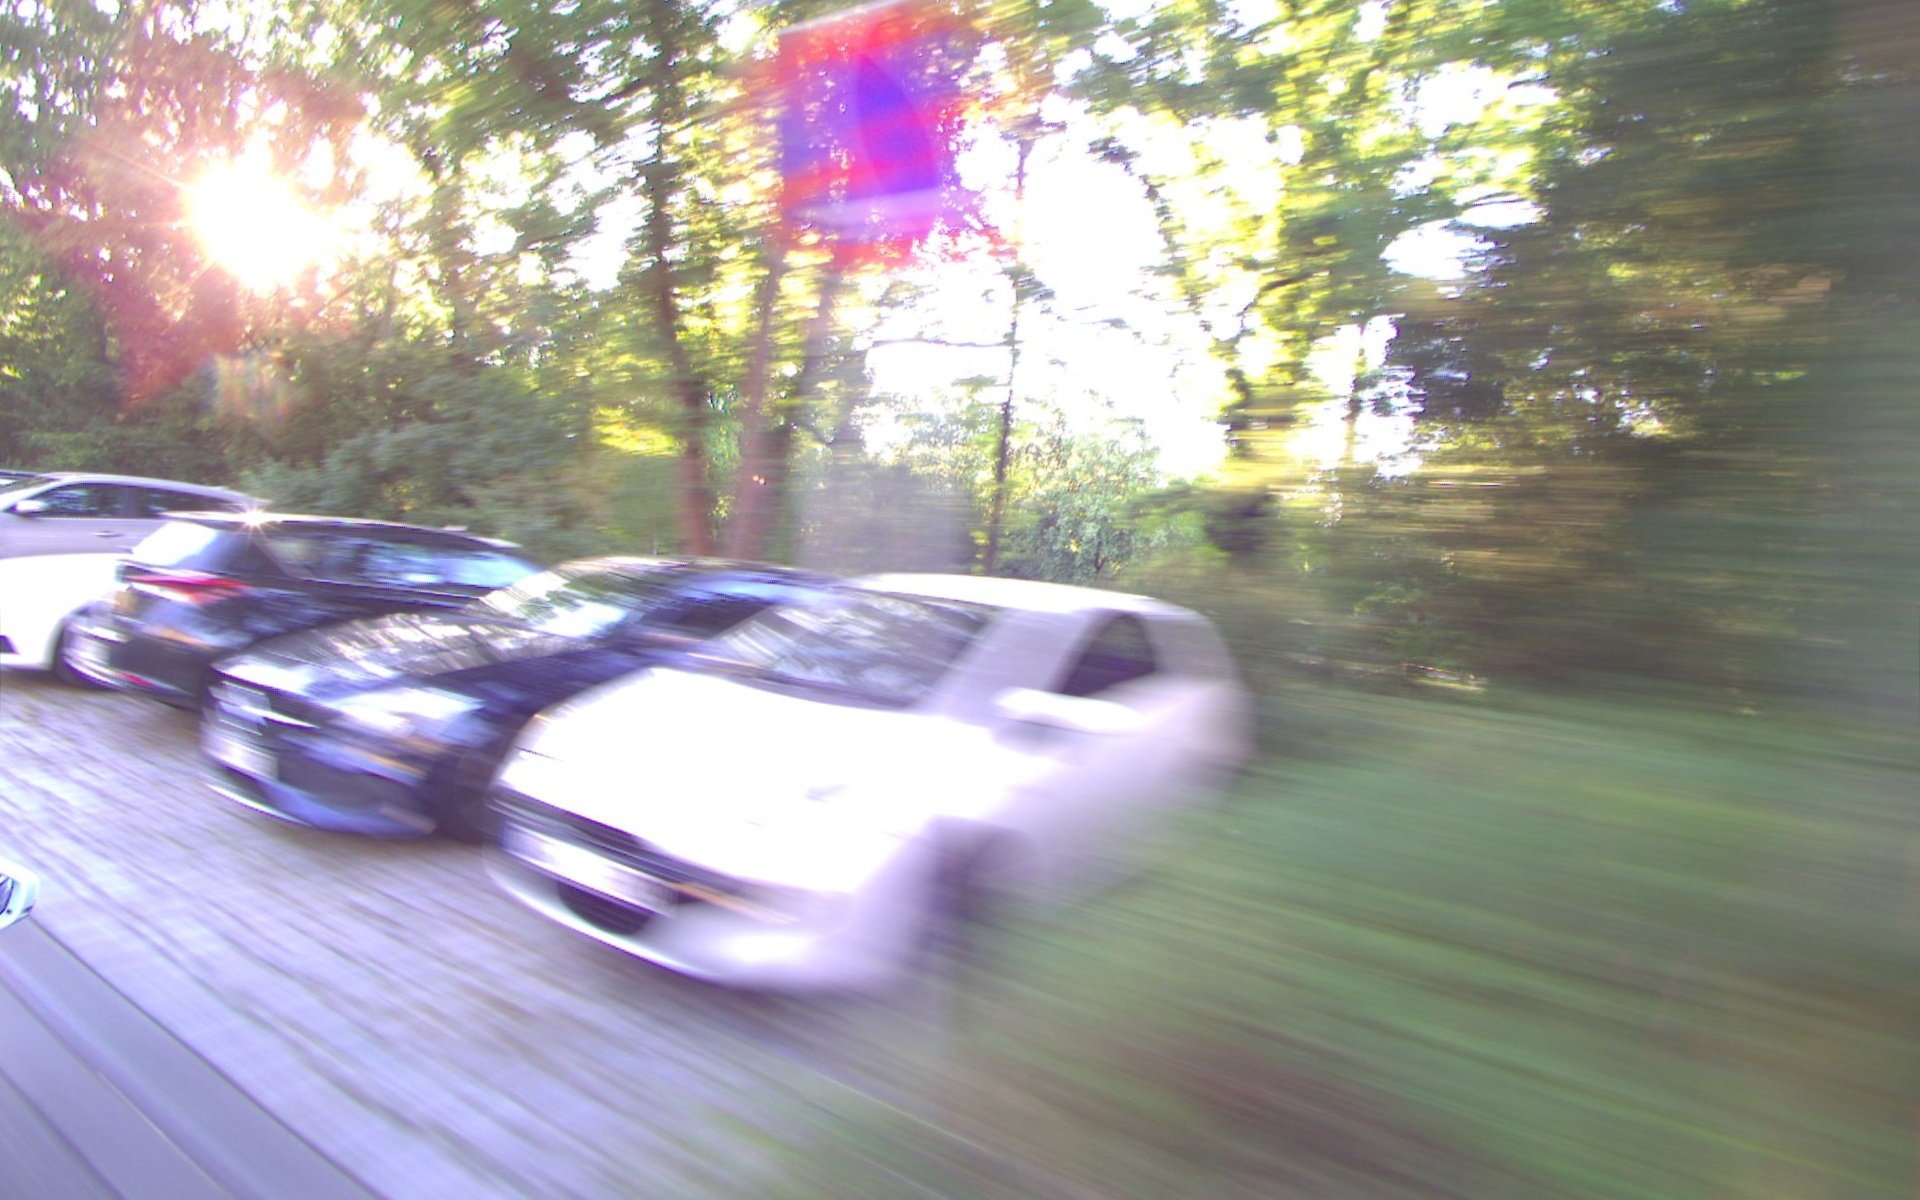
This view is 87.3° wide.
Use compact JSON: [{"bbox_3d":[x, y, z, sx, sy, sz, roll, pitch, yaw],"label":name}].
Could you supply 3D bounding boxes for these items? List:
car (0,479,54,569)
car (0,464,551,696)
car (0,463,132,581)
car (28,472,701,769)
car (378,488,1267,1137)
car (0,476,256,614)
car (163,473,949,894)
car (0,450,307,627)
[{"bbox_3d":[-18.709,-1.504,17.574,1.698,1.575,3.984,7,2,35],"label":"car"},{"bbox_3d":[-6.242,-0.100,9.044,1.826,1.574,4.487,5,0,31],"label":"car"},{"bbox_3d":[-16.407,-1.385,16.301,1.854,1.813,4.242,7,2,35],"label":"car"},{"bbox_3d":[-4.182,0.164,7.682,1.724,1.574,3.986,8,2,35],"label":"car"},{"bbox_3d":[-0.150,0.603,4.667,1.698,1.574,3.986,8,2,35],"label":"car"},{"bbox_3d":[-12.097,-0.767,13.460,1.698,1.574,3.986,7,1,35],"label":"car"},{"bbox_3d":[-1.984,0.379,6.022,1.698,1.574,3.986,8,2,35],"label":"car"},{"bbox_3d":[-10.585,-0.728,11.894,2.003,1.828,4.305,7,2,34],"label":"car"}]
